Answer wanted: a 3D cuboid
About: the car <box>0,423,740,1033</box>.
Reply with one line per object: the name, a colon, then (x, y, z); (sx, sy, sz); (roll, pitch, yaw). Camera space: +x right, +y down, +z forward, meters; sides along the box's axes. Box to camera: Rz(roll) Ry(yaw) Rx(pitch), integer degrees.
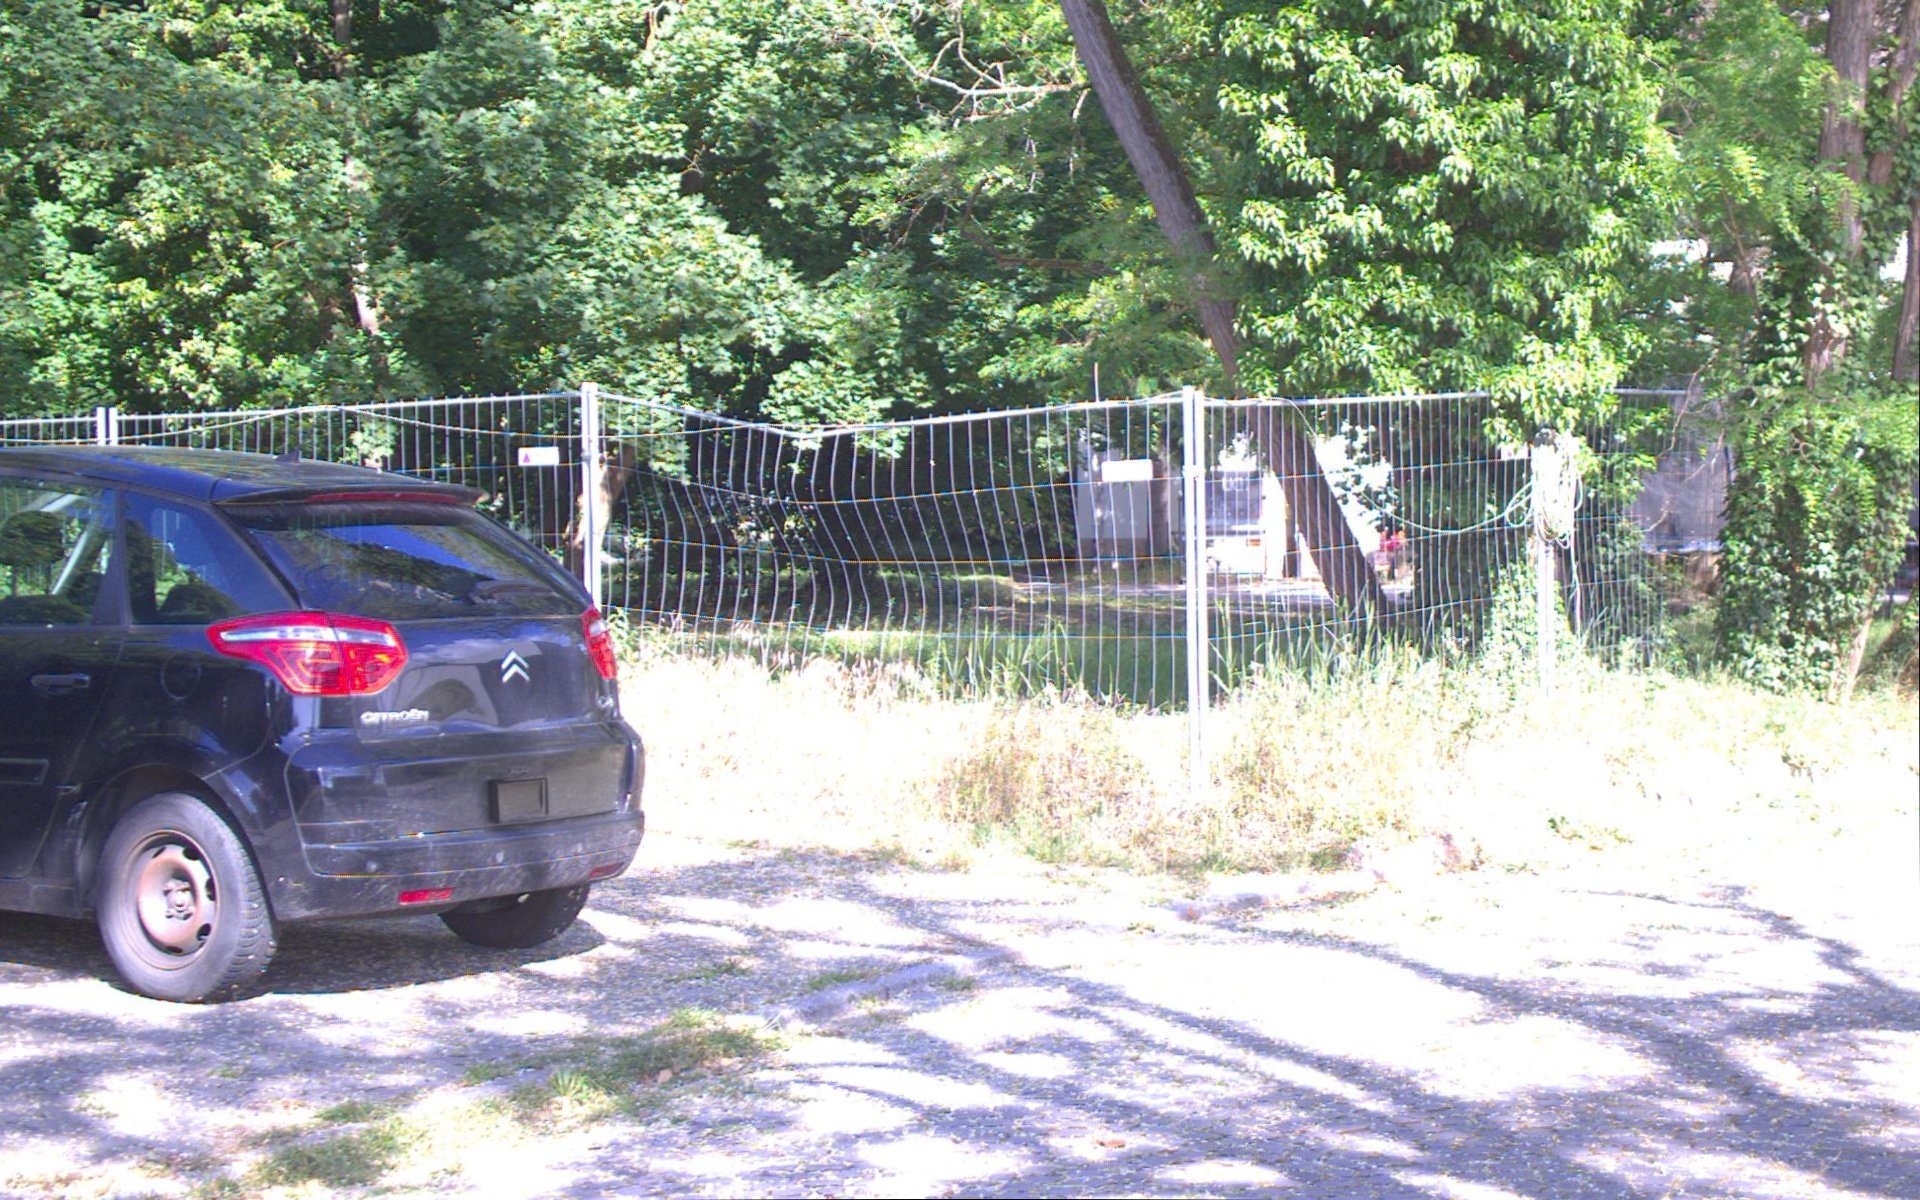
car: (-3.049, 0.247, 11.608); (4.267, 1.583, 1.826); (5, 4, 31)
